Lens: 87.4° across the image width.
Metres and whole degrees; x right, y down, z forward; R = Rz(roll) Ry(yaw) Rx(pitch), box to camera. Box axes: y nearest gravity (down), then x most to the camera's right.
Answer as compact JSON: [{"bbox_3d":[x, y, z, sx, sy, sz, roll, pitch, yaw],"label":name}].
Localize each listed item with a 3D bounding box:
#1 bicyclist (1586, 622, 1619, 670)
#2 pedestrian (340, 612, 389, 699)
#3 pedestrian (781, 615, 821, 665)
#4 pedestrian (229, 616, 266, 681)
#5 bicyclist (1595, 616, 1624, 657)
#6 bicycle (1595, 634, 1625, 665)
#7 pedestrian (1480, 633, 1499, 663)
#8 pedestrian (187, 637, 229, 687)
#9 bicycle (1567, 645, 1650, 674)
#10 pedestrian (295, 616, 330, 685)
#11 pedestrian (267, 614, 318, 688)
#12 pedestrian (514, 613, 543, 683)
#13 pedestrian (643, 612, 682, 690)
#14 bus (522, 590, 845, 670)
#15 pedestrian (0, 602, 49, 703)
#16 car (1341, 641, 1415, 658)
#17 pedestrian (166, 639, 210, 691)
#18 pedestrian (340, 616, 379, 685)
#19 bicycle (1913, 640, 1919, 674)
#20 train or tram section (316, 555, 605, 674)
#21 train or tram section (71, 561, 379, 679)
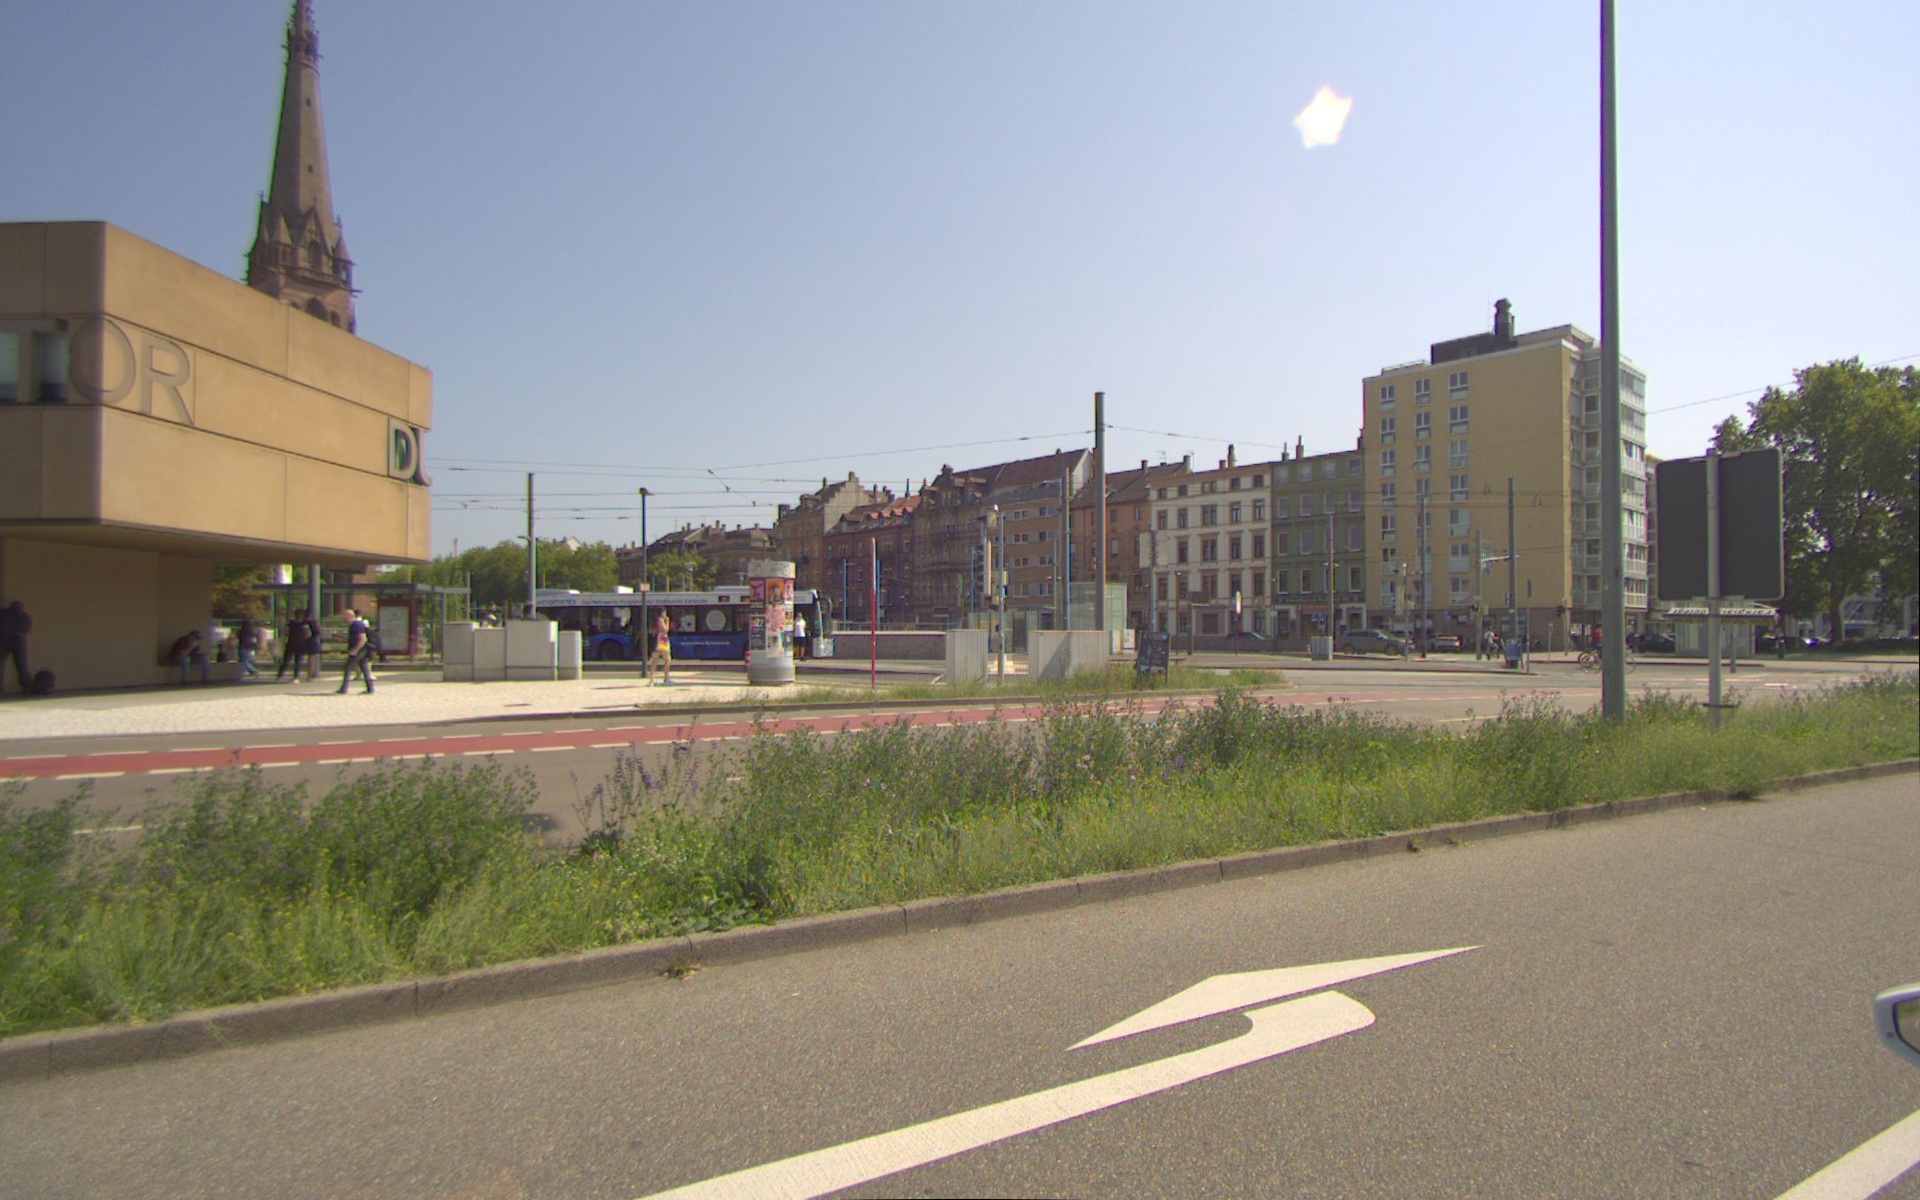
[{"bbox_3d":[22.712,1.609,35.513,0.602,1.664,0.831,1,-2,-41],"label":"bicyclist"},{"bbox_3d":[-12.024,1.114,20.296,0.800,1.725,0.641,1,-2,-31],"label":"pedestrian"},{"bbox_3d":[-6.125,1.542,38.772,1.284,1.910,1.039,0,-3,4],"label":"pedestrian"},{"bbox_3d":[-18.034,1.220,25.426,0.559,1.635,0.492,0,-2,11],"label":"pedestrian"},{"bbox_3d":[26.639,1.504,41.214,0.958,1.675,0.661,-1,-2,33],"label":"bicyclist"},{"bbox_3d":[26.661,2.013,41.227,0.958,1.194,2.825,-1,-2,32],"label":"bicycle"},{"bbox_3d":[28.969,2.619,54.981,0.808,1.654,0.643,2,-2,-41],"label":"pedestrian"},{"bbox_3d":[-16.505,1.356,22.060,0.490,1.098,0.541,0,-2,2],"label":"pedestrian"},{"bbox_3d":[22.809,2.090,35.390,0.599,0.966,2.388,2,-3,-41],"label":"bicycle"},{"bbox_3d":[-15.438,1.194,23.940,0.500,1.635,0.491,-1,-2,26],"label":"pedestrian"},{"bbox_3d":[-14.994,1.134,22.576,0.679,1.635,0.639,0,-2,8],"label":"pedestrian"},{"bbox_3d":[-11.196,1.235,26.082,0.541,1.786,0.696,0,-2,-11],"label":"pedestrian"},{"bbox_3d":[-6.657,1.129,22.493,0.615,1.725,0.787,0,-2,-1],"label":"pedestrian"},{"bbox_3d":[-11.003,1.212,40.782,12.233,3.111,3.108,0,-2,3],"label":"bus"},{"bbox_3d":[-16.451,0.907,17.455,0.622,1.711,0.745,-1,-2,33],"label":"pedestrian"},{"bbox_3d":[25.661,3.025,61.679,3.842,1.000,1.706,-2,-3,44],"label":"car"},{"bbox_3d":[-16.519,1.378,21.493,0.490,1.098,0.541,0,-2,2],"label":"pedestrian"},{"bbox_3d":[-15.050,1.258,25.185,0.800,1.691,0.546,1,-2,-31],"label":"pedestrian"},{"bbox_3d":[34.371,1.979,34.701,2.002,1.152,0.699,0,-2,11],"label":"bicycle"},{"bbox_3d":[-16.457,0.556,33.539,8.080,3.616,3.147,-1,-3,2],"label":"train or tram section"},{"bbox_3d":[-24.507,0.746,33.801,8.080,3.616,3.147,-1,-3,2],"label":"train or tram section"}]
